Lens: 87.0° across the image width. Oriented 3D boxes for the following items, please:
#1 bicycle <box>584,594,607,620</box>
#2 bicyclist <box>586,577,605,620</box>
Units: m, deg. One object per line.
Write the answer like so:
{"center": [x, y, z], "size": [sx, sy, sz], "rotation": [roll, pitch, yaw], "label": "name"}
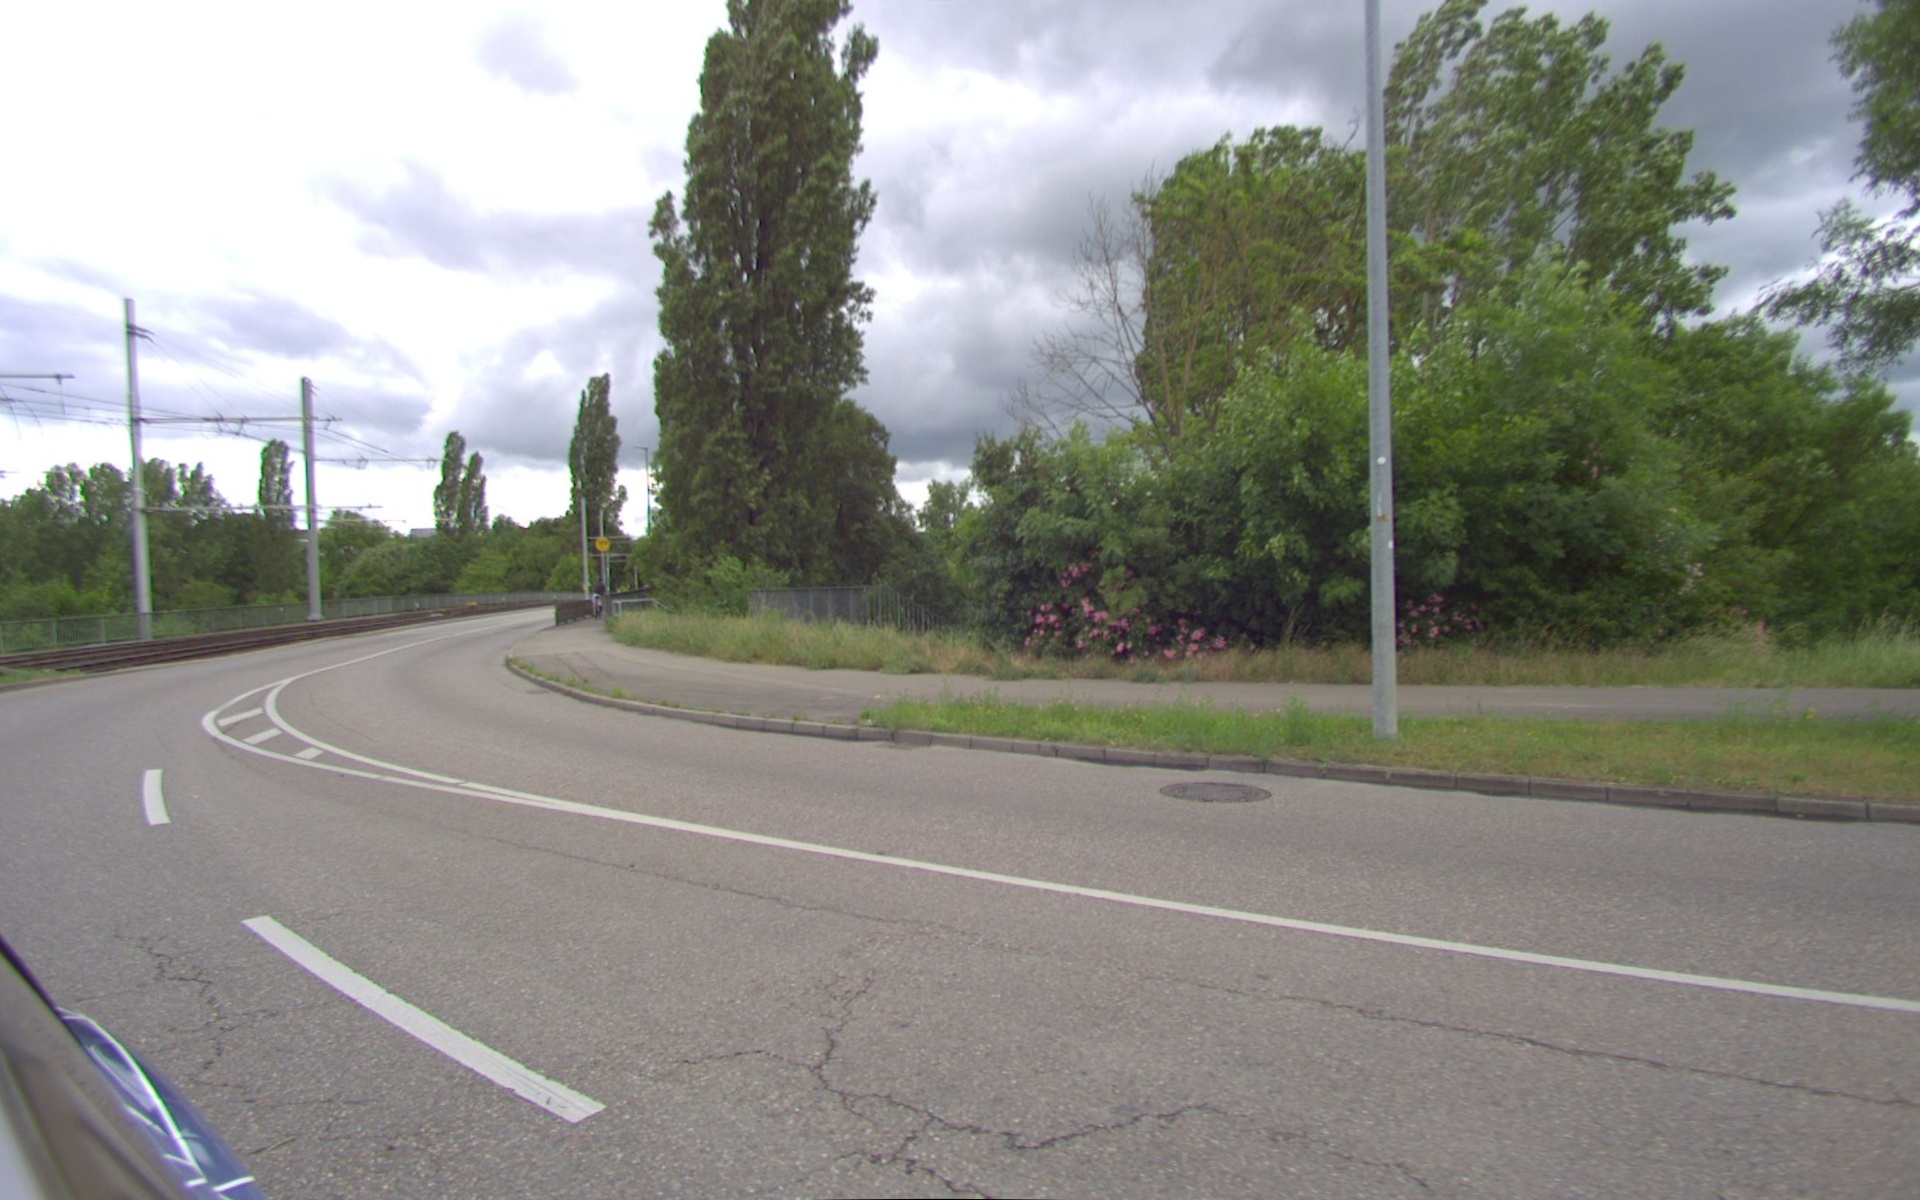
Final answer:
{"center": [-16.243, 0.307, 45.173], "size": [0.726, 1.079, 1.887], "rotation": [-3, 2, -14], "label": "bicycle"}
{"center": [-16.290, -0.078, 45.228], "size": [0.618, 1.822, 0.903], "rotation": [-3, 2, -14], "label": "bicyclist"}
